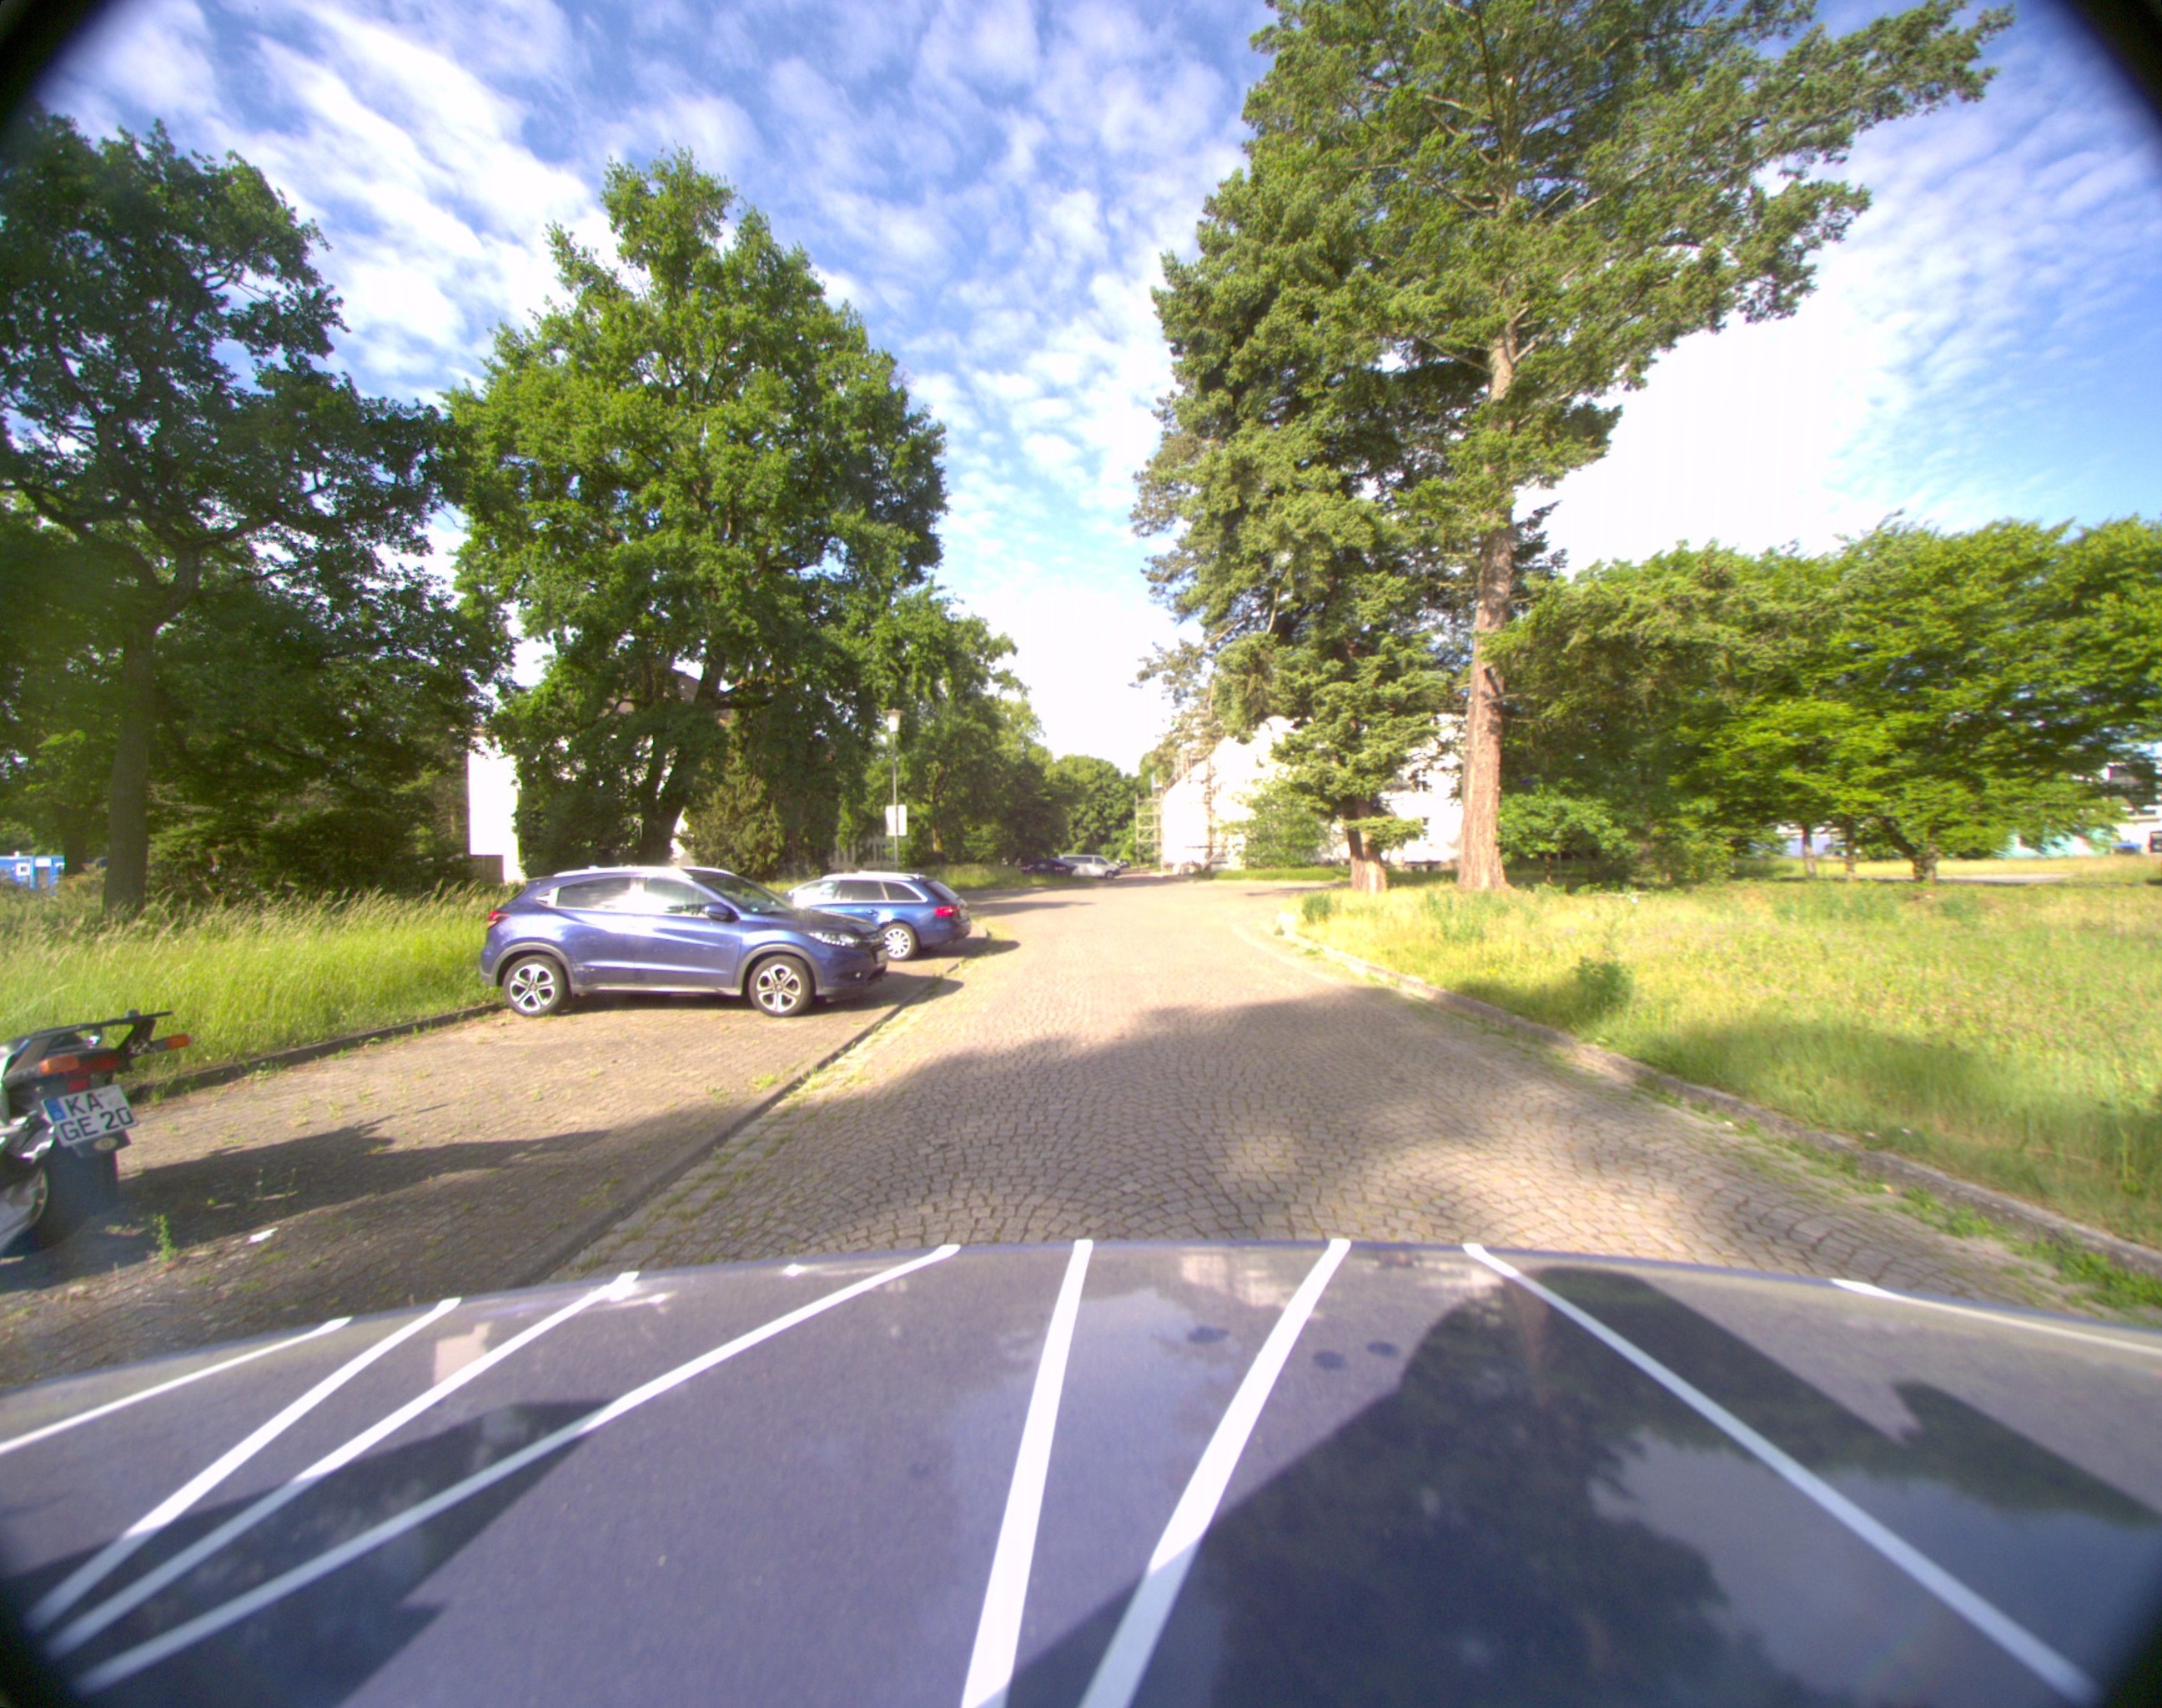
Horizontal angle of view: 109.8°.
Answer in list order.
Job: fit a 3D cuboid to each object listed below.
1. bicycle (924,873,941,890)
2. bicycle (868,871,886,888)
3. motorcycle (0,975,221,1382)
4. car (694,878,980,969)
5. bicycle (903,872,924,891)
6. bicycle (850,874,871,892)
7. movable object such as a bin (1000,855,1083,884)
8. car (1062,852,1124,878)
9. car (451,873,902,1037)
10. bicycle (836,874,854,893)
[{"bbox_3d":[-8.318,1.539,42.477,0.747,0.929,1.140,-1,0,-2],"label":"bicycle"},{"bbox_3d":[-12.618,1.580,46.948,0.712,1.010,1.024,-1,0,-36],"label":"bicycle"},{"bbox_3d":[-4.908,1.185,2.958,2.305,1.312,0.726,0,0,1],"label":"motorcycle"},{"bbox_3d":[-4.159,1.160,13.377,4.459,1.399,1.714,0,0,4],"label":"car"},{"bbox_3d":[-9.287,1.513,42.090,0.710,1.010,1.257,-1,0,8],"label":"bicycle"},{"bbox_3d":[-12.417,1.631,42.822,0.710,1.010,1.028,-1,0,8],"label":"bicycle"},{"bbox_3d":[-2.560,1.000,49.233,4.931,1.749,2.002,-1,0,16],"label":"movable object such as a bin"},{"bbox_3d":[1.011,0.895,62.060,4.936,2.002,2.000,-1,0,1],"label":"car"},{"bbox_3d":[-4.372,1.064,8.683,4.187,1.581,1.751,-1,0,1],"label":"car"},{"bbox_3d":[-13.188,1.650,42.463,0.619,1.010,1.027,-1,0,4],"label":"bicycle"}]
